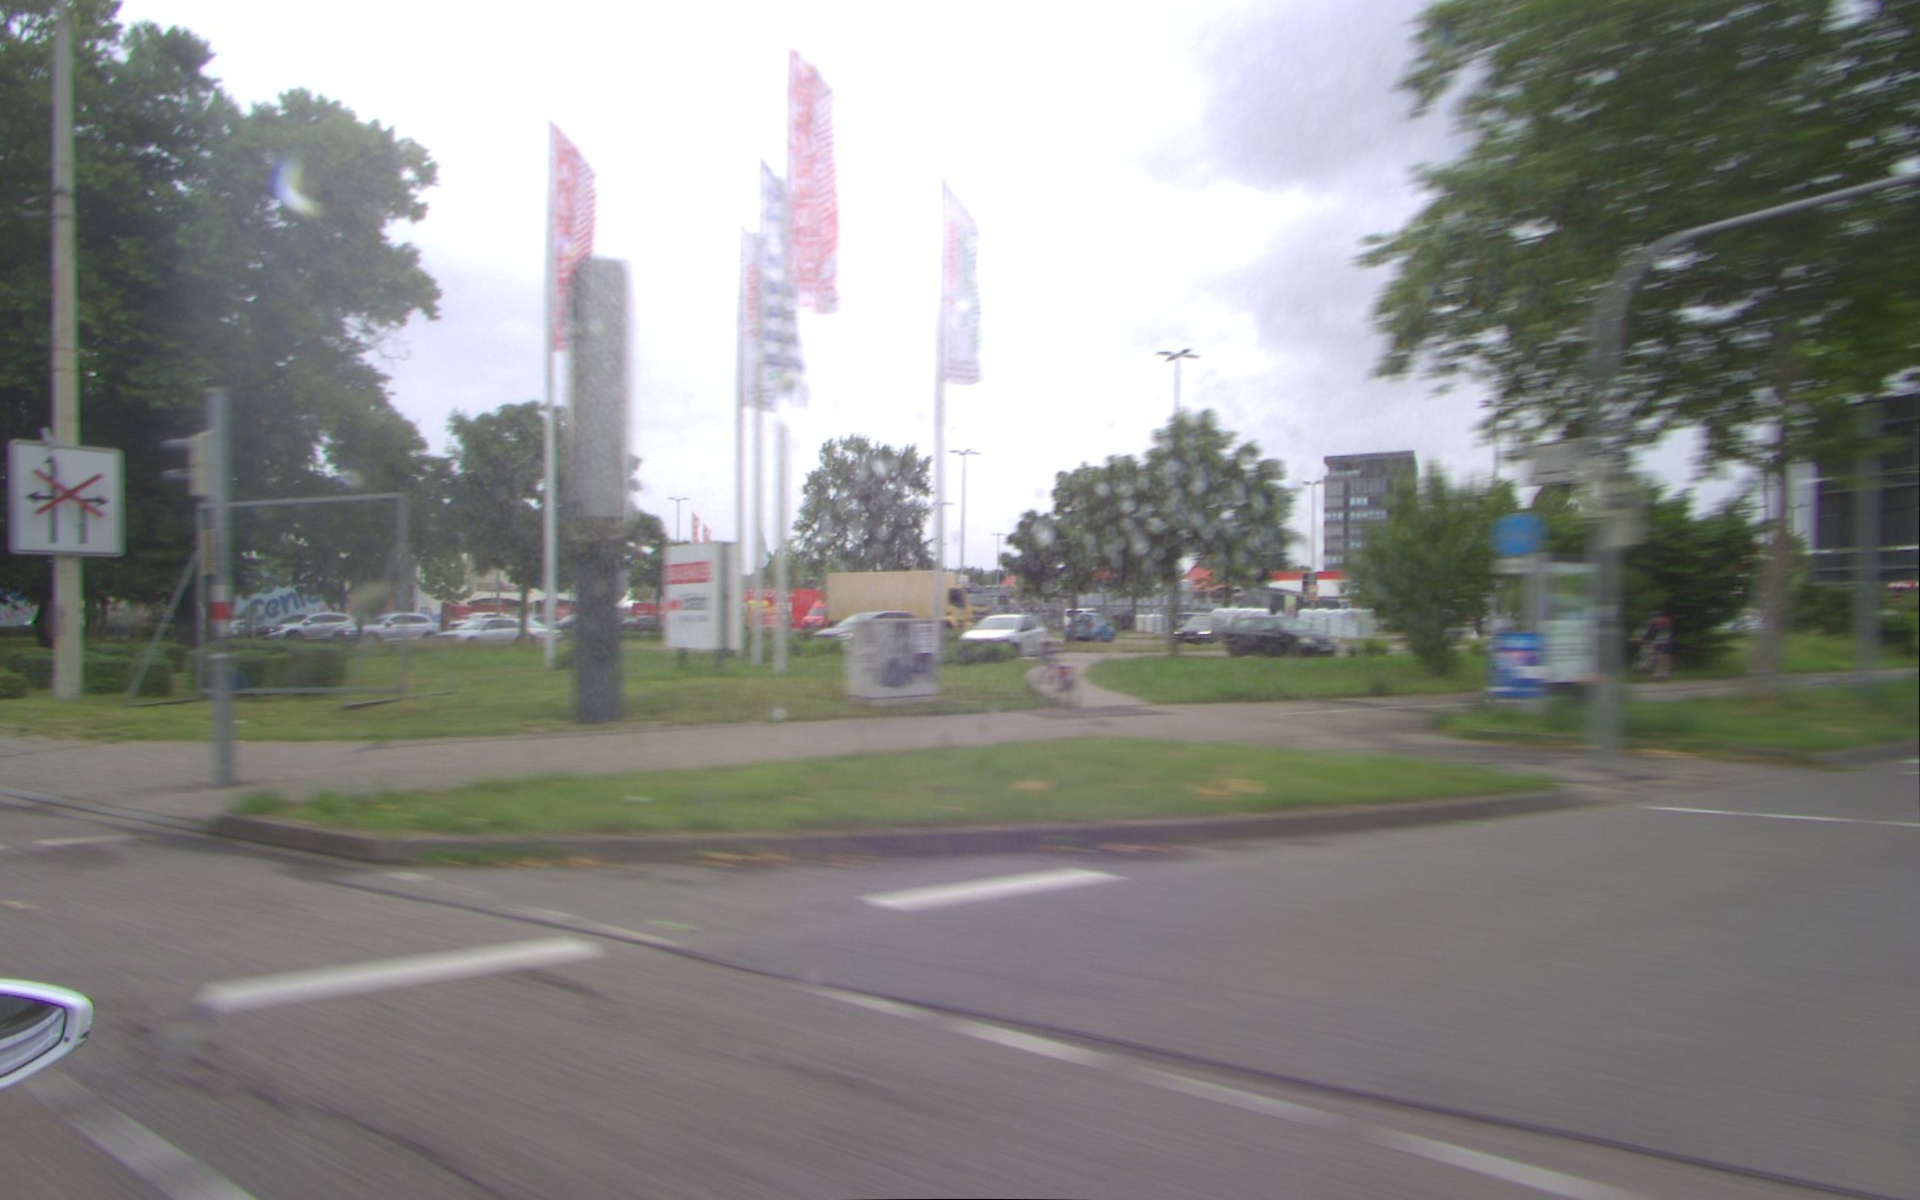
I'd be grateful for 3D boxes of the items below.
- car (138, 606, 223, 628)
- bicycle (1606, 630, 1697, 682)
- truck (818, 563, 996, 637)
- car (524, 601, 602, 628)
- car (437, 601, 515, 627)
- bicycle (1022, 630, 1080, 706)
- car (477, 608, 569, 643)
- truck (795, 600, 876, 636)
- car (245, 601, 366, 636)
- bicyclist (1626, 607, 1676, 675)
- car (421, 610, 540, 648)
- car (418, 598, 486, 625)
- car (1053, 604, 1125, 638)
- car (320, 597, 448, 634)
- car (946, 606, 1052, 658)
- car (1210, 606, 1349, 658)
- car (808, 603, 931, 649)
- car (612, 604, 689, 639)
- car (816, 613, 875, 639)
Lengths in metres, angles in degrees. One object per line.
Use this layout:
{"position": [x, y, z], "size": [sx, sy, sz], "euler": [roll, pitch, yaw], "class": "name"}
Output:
{"position": [-58.042, 1.235, 74.648], "size": [2.041, 1.592, 4.551], "euler": [0, 0, 27], "class": "car"}
{"position": [15.958, 1.285, 23.125], "size": [1.859, 1.164, 0.582], "euler": [0, 0, -10], "class": "bicycle"}
{"position": [-2.858, 0.105, 52.616], "size": [9.104, 3.609, 2.940], "euler": [-1, -2, 27], "class": "truck"}
{"position": [-25.243, 0.908, 63.830], "size": [2.119, 1.699, 4.556], "euler": [0, 0, 22], "class": "car"}
{"position": [-32.585, 0.934, 67.552], "size": [2.119, 1.699, 4.556], "euler": [0, 0, 22], "class": "car"}
{"position": [1.469, 1.072, 16.383], "size": [0.479, 1.132, 1.806], "euler": [0, 0, -10], "class": "bicycle"}
{"position": [-22.010, 1.290, 50.416], "size": [4.437, 1.691, 1.993], "euler": [-1, -3, 29], "class": "car"}
{"position": [-9.456, 1.342, 77.055], "size": [2.443, 2.670, 7.861], "euler": [0, 0, 24], "class": "truck"}
{"position": [-31.196, 0.936, 47.856], "size": [1.927, 1.516, 4.536], "euler": [0, -3, 23], "class": "car"}
{"position": [15.937, 0.930, 23.107], "size": [0.745, 1.540, 0.582], "euler": [0, 1, -10], "class": "bicyclist"}
{"position": [-20.429, 1.268, 42.894], "size": [1.899, 1.516, 4.449], "euler": [0, -3, 23], "class": "car"}
{"position": [-48.505, 1.082, 95.814], "size": [2.040, 2.570, 5.740], "euler": [0, 0, 27], "class": "car"}
{"position": [6.294, 0.991, 48.361], "size": [1.956, 1.526, 4.549], "euler": [0, 0, 28], "class": "car"}
{"position": [-26.080, 0.766, 45.526], "size": [2.135, 1.516, 4.677], "euler": [0, -3, 26], "class": "car"}
{"position": [1.307, 1.028, 31.300], "size": [1.899, 1.516, 4.225], "euler": [0, -3, 24], "class": "car"}
{"position": [10.098, 1.043, 31.961], "size": [1.799, 1.516, 4.219], "euler": [2, -3, -27], "class": "car"}
{"position": [-3.143, 0.979, 35.671], "size": [1.905, 1.516, 4.590], "euler": [-1, -3, 34], "class": "car"}
{"position": [-19.031, 1.282, 61.758], "size": [2.119, 2.078, 4.556], "euler": [0, 0, 22], "class": "car"}
{"position": [-7.757, 1.720, 68.294], "size": [2.119, 1.699, 4.556], "euler": [0, 0, 22], "class": "car"}
